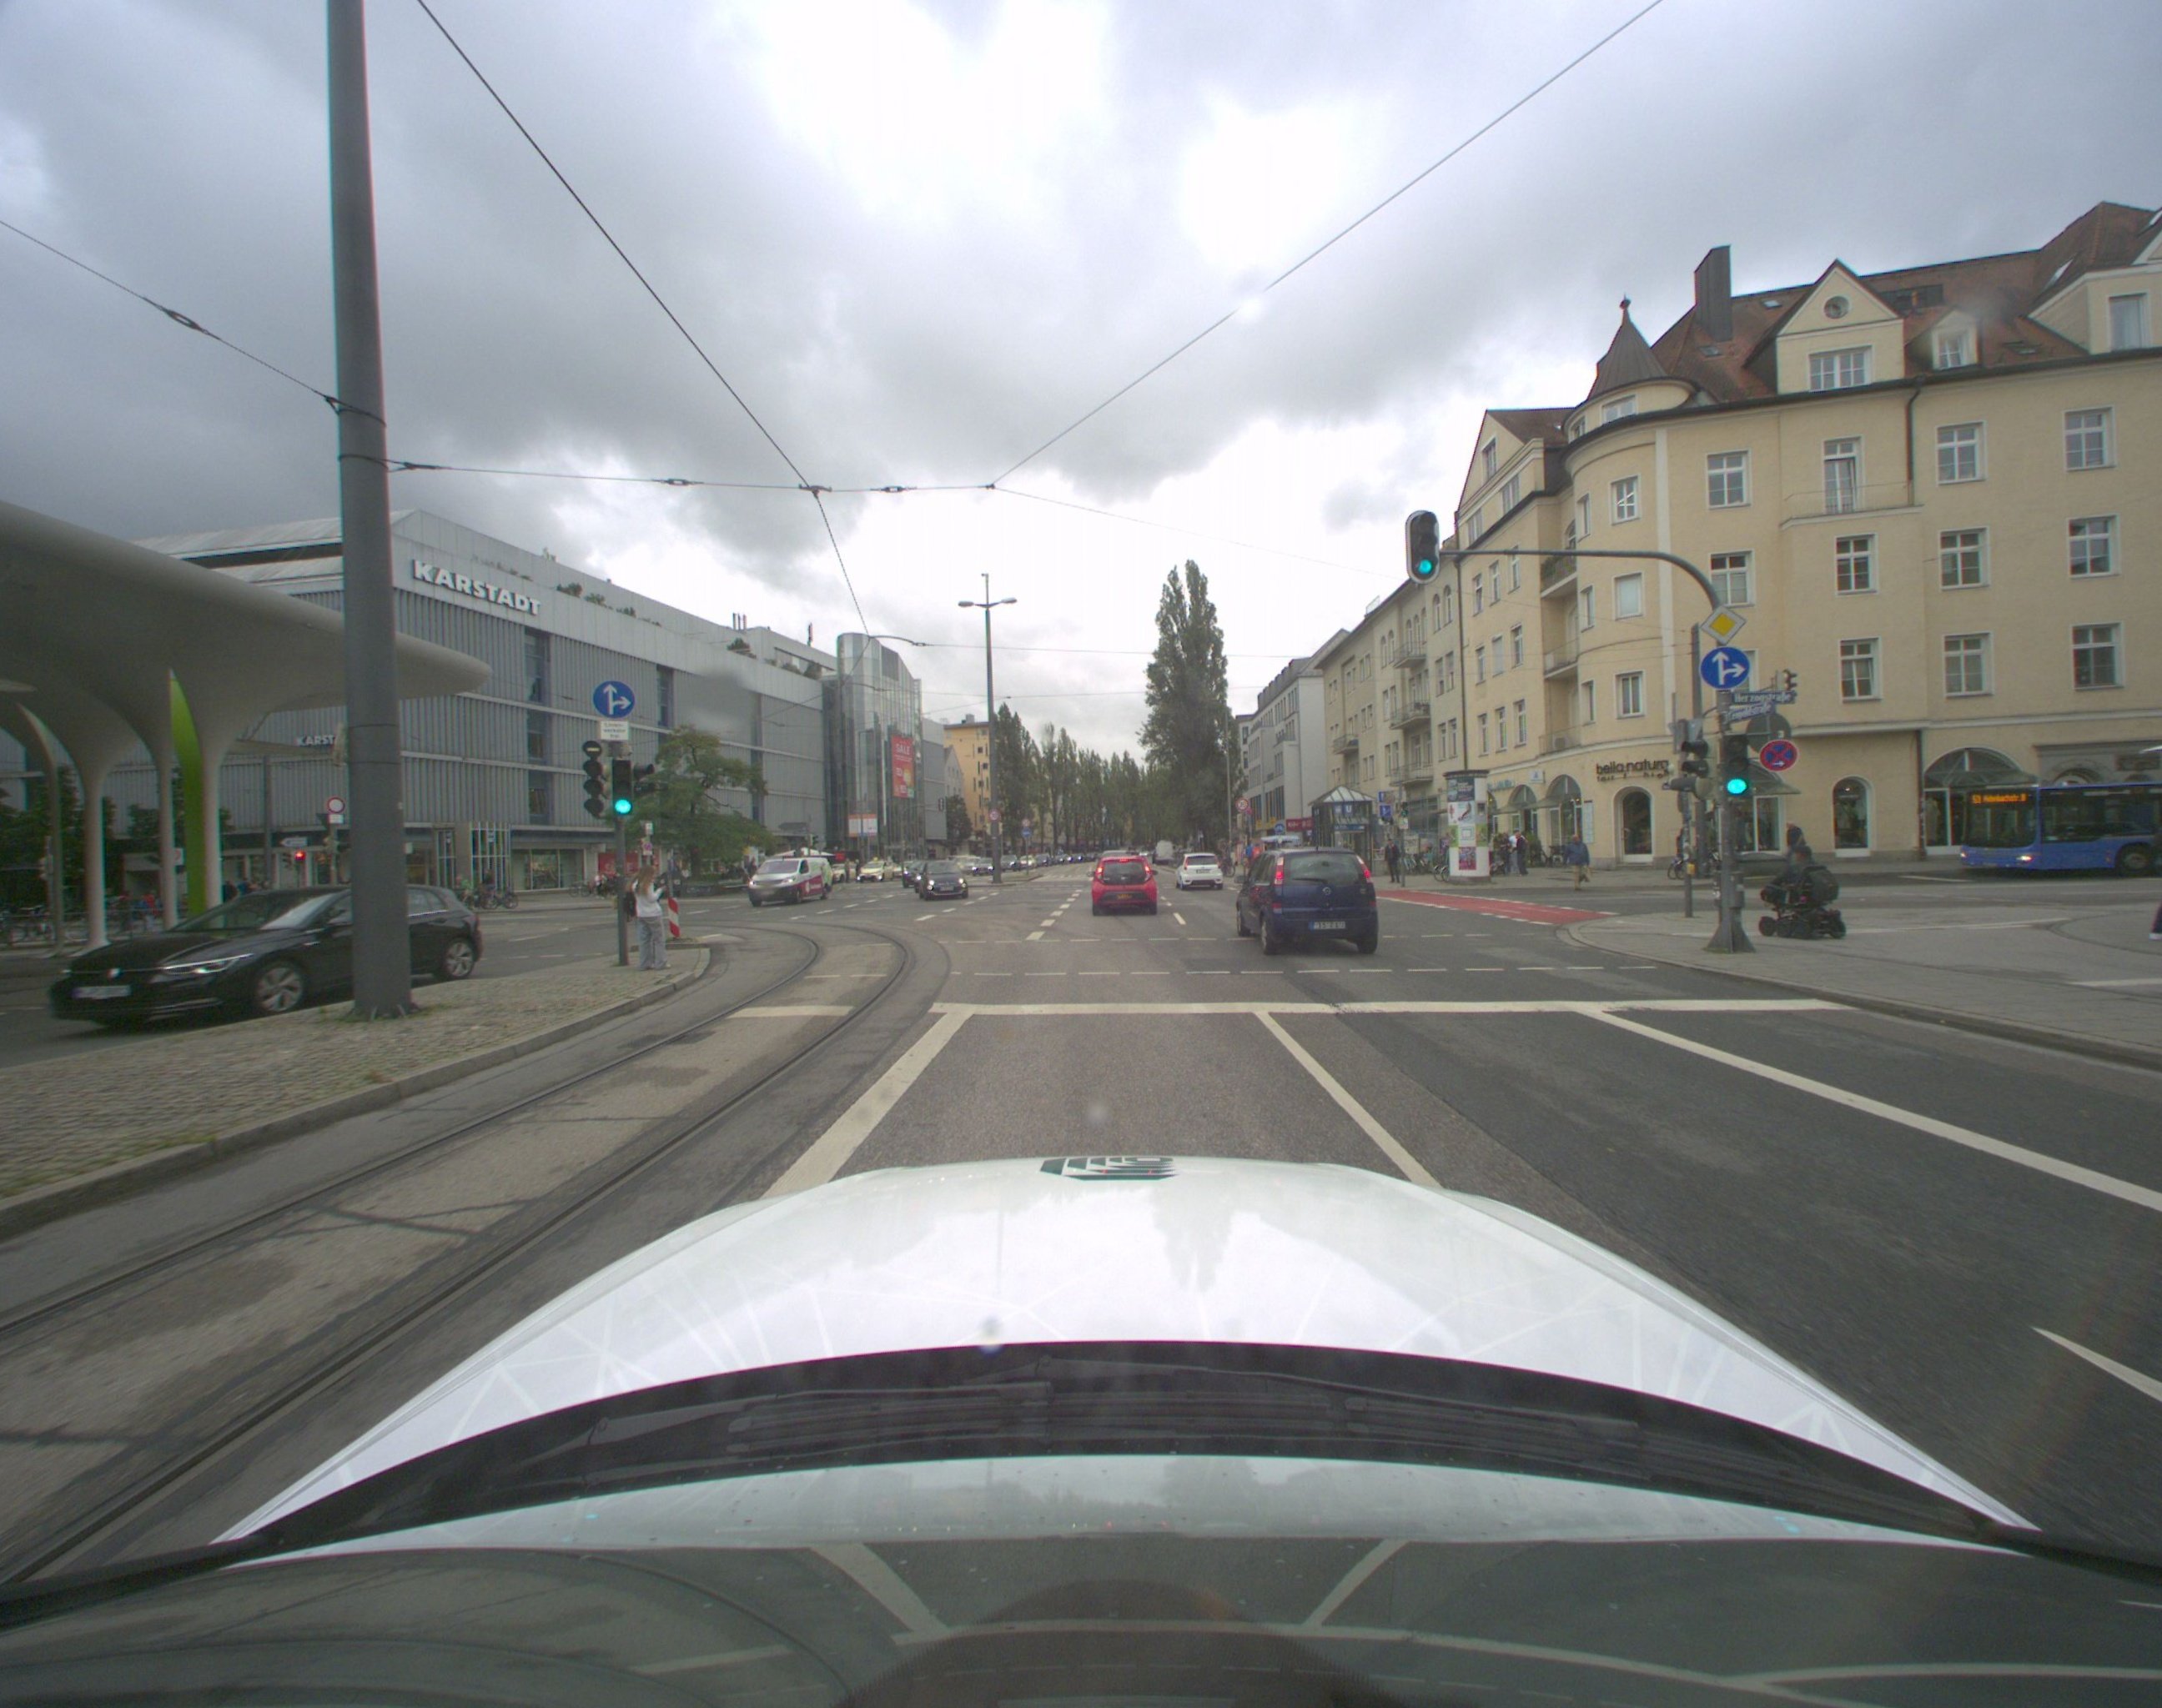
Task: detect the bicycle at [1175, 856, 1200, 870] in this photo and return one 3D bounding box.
[{"bbox_3d":[7.906,0.679,60.424,1.815,1.052,0.590,-2,0,45],"label":"bicycle"}]

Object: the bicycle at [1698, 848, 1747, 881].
[{"bbox_3d":[21.436,0.339,27.208,1.580,1.033,0.356,-2,0,-13],"label":"bicycle"}]

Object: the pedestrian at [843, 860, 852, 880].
[{"bbox_3d":[-21.249,1.434,74.154,0.553,1.817,0.630,-2,0,13],"label":"pedestrian"}]

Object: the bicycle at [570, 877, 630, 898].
[{"bbox_3d":[-30.252,2.124,51.243,3.468,1.156,1.064,-2,0,14],"label":"bicycle"}]

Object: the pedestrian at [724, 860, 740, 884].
[{"bbox_3d":[-22.214,1.140,51.804,0.754,1.493,0.765,-2,0,-33],"label":"pedestrian"}]

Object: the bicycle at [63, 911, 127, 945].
[{"bbox_3d":[-31.251,2.334,25.850,0.455,0.939,1.719,-2,-1,-19],"label":"bicycle"}]

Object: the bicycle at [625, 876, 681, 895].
[{"bbox_3d":[-29.174,2.121,55.507,3.468,1.156,1.064,-2,0,14],"label":"bicycle"}]

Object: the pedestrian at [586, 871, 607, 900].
[{"bbox_3d":[-27.157,1.761,45.638,0.632,1.574,0.724,-2,0,21],"label":"pedestrian"}]

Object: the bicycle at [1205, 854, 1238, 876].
[{"bbox_3d":[7.865,0.624,45.750,0.562,1.198,1.782,-2,0,-45],"label":"bicycle"}]

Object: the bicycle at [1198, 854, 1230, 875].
[{"bbox_3d":[7.796,0.616,47.830,1.782,1.158,0.551,-2,0,40],"label":"bicycle"}]

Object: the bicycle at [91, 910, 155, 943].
[{"bbox_3d":[-30.922,2.334,26.315,0.455,0.939,1.721,-2,-1,-17],"label":"bicycle"}]

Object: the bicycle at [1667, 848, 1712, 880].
[{"bbox_3d":[20.983,0.337,28.076,1.580,1.033,0.247,-2,0,-13],"label":"bicycle"}]

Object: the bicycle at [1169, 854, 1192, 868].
[{"bbox_3d":[8.146,0.581,66.843,1.814,1.136,0.590,-2,0,38],"label":"bicycle"}]

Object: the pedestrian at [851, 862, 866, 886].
[{"bbox_3d":[-16.308,1.462,59.688,0.766,1.691,0.753,-2,0,7],"label":"pedestrian"}]

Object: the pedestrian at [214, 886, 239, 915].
[{"bbox_3d":[-48.077,2.606,45.826,0.675,1.552,0.658,-2,0,10],"label":"pedestrian"}]

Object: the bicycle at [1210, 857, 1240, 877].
[{"bbox_3d":[7.806,0.718,44.235,0.502,1.028,1.582,-2,0,-40],"label":"bicycle"}]

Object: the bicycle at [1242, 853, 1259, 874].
[{"bbox_3d":[10.905,0.612,52.509,0.611,1.265,2.521,-2,0,3],"label":"bicycle"}]

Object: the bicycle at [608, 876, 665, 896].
[{"bbox_3d":[-29.533,2.122,54.081,3.468,1.156,1.064,-2,0,14],"label":"bicycle"}]

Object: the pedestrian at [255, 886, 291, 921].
[{"bbox_3d":[-38.705,2.382,39.024,0.734,1.588,0.952,-2,0,13],"label":"pedestrian"}]

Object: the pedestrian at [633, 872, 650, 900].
[{"bbox_3d":[-26.534,1.921,49.172,0.791,1.687,0.853,-2,0,-33],"label":"pedestrian"}]

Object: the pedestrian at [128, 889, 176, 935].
[{"bbox_3d":[-34.795,2.161,30.521,0.851,1.642,0.791,-2,0,6],"label":"pedestrian"}]

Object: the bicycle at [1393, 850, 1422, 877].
[{"bbox_3d":[14.391,0.407,35.926,0.564,1.107,1.867,-2,0,2],"label":"bicycle"}]

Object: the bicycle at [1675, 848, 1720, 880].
[{"bbox_3d":[21.056,0.337,27.820,1.580,1.033,0.247,-2,0,-13],"label":"bicycle"}]

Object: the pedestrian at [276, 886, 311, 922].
[{"bbox_3d":[-37.560,2.374,38.832,0.781,1.642,0.861,-2,0,13],"label":"pedestrian"}]

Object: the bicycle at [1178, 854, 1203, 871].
[{"bbox_3d":[7.938,0.609,59.014,1.815,1.197,0.590,-2,0,45],"label":"bicycle"}]

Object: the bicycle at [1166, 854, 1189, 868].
[{"bbox_3d":[8.254,0.577,69.572,1.814,1.136,0.590,-2,0,38],"label":"bicycle"}]

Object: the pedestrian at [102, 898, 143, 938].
[{"bbox_3d":[-41.571,2.769,35.322,0.794,1.654,0.855,-2,0,13],"label":"pedestrian"}]

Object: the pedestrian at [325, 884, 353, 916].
[{"bbox_3d":[-40.589,2.525,44.561,0.782,1.687,0.786,-2,0,6],"label":"pedestrian"}]

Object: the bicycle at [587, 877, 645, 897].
[{"bbox_3d":[-29.949,2.123,52.448,3.468,1.156,1.064,-2,0,14],"label":"bicycle"}]

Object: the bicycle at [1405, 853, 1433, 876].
[{"bbox_3d":[14.891,0.439,35.894,0.492,0.975,1.867,-2,0,2],"label":"bicycle"}]

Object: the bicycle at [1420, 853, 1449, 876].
[{"bbox_3d":[15.567,0.441,35.880,0.492,0.975,1.867,-2,0,2],"label":"bicycle"}]

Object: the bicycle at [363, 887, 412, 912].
[{"bbox_3d":[-32.425,2.109,38.125,0.582,1.111,1.895,-2,-2,3],"label":"bicycle"}]

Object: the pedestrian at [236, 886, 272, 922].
[{"bbox_3d":[-39.634,2.379,39.027,0.794,1.654,0.855,-2,0,13],"label":"pedestrian"}]

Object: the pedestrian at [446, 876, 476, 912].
[{"bbox_3d":[-29.503,1.904,38.767,0.840,1.618,0.806,-2,0,-13],"label":"pedestrian"}]

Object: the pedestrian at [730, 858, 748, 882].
[{"bbox_3d":[-22.160,1.028,52.793,0.763,1.554,0.756,-2,0,40],"label":"pedestrian"}]

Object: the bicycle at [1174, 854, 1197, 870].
[{"bbox_3d":[8.093,0.632,63.153,1.815,1.136,0.590,-2,0,45],"label":"bicycle"}]

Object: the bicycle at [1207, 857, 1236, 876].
[{"bbox_3d":[7.762,0.715,45.092,0.502,1.028,1.582,-2,0,-40],"label":"bicycle"}]

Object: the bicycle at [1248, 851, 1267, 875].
[{"bbox_3d":[10.031,0.486,46.440,0.611,1.265,2.521,-2,0,3],"label":"bicycle"}]

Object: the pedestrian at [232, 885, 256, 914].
[{"bbox_3d":[-47.973,2.605,46.693,0.675,1.552,0.658,-2,0,10],"label":"pedestrian"}]

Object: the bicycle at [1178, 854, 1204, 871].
[{"bbox_3d":[7.881,0.628,58.233,1.815,1.168,0.590,-2,0,45],"label":"bicycle"}]

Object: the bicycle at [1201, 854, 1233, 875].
[{"bbox_3d":[7.860,0.617,47.145,1.782,1.158,0.551,-2,0,40],"label":"bicycle"}]
